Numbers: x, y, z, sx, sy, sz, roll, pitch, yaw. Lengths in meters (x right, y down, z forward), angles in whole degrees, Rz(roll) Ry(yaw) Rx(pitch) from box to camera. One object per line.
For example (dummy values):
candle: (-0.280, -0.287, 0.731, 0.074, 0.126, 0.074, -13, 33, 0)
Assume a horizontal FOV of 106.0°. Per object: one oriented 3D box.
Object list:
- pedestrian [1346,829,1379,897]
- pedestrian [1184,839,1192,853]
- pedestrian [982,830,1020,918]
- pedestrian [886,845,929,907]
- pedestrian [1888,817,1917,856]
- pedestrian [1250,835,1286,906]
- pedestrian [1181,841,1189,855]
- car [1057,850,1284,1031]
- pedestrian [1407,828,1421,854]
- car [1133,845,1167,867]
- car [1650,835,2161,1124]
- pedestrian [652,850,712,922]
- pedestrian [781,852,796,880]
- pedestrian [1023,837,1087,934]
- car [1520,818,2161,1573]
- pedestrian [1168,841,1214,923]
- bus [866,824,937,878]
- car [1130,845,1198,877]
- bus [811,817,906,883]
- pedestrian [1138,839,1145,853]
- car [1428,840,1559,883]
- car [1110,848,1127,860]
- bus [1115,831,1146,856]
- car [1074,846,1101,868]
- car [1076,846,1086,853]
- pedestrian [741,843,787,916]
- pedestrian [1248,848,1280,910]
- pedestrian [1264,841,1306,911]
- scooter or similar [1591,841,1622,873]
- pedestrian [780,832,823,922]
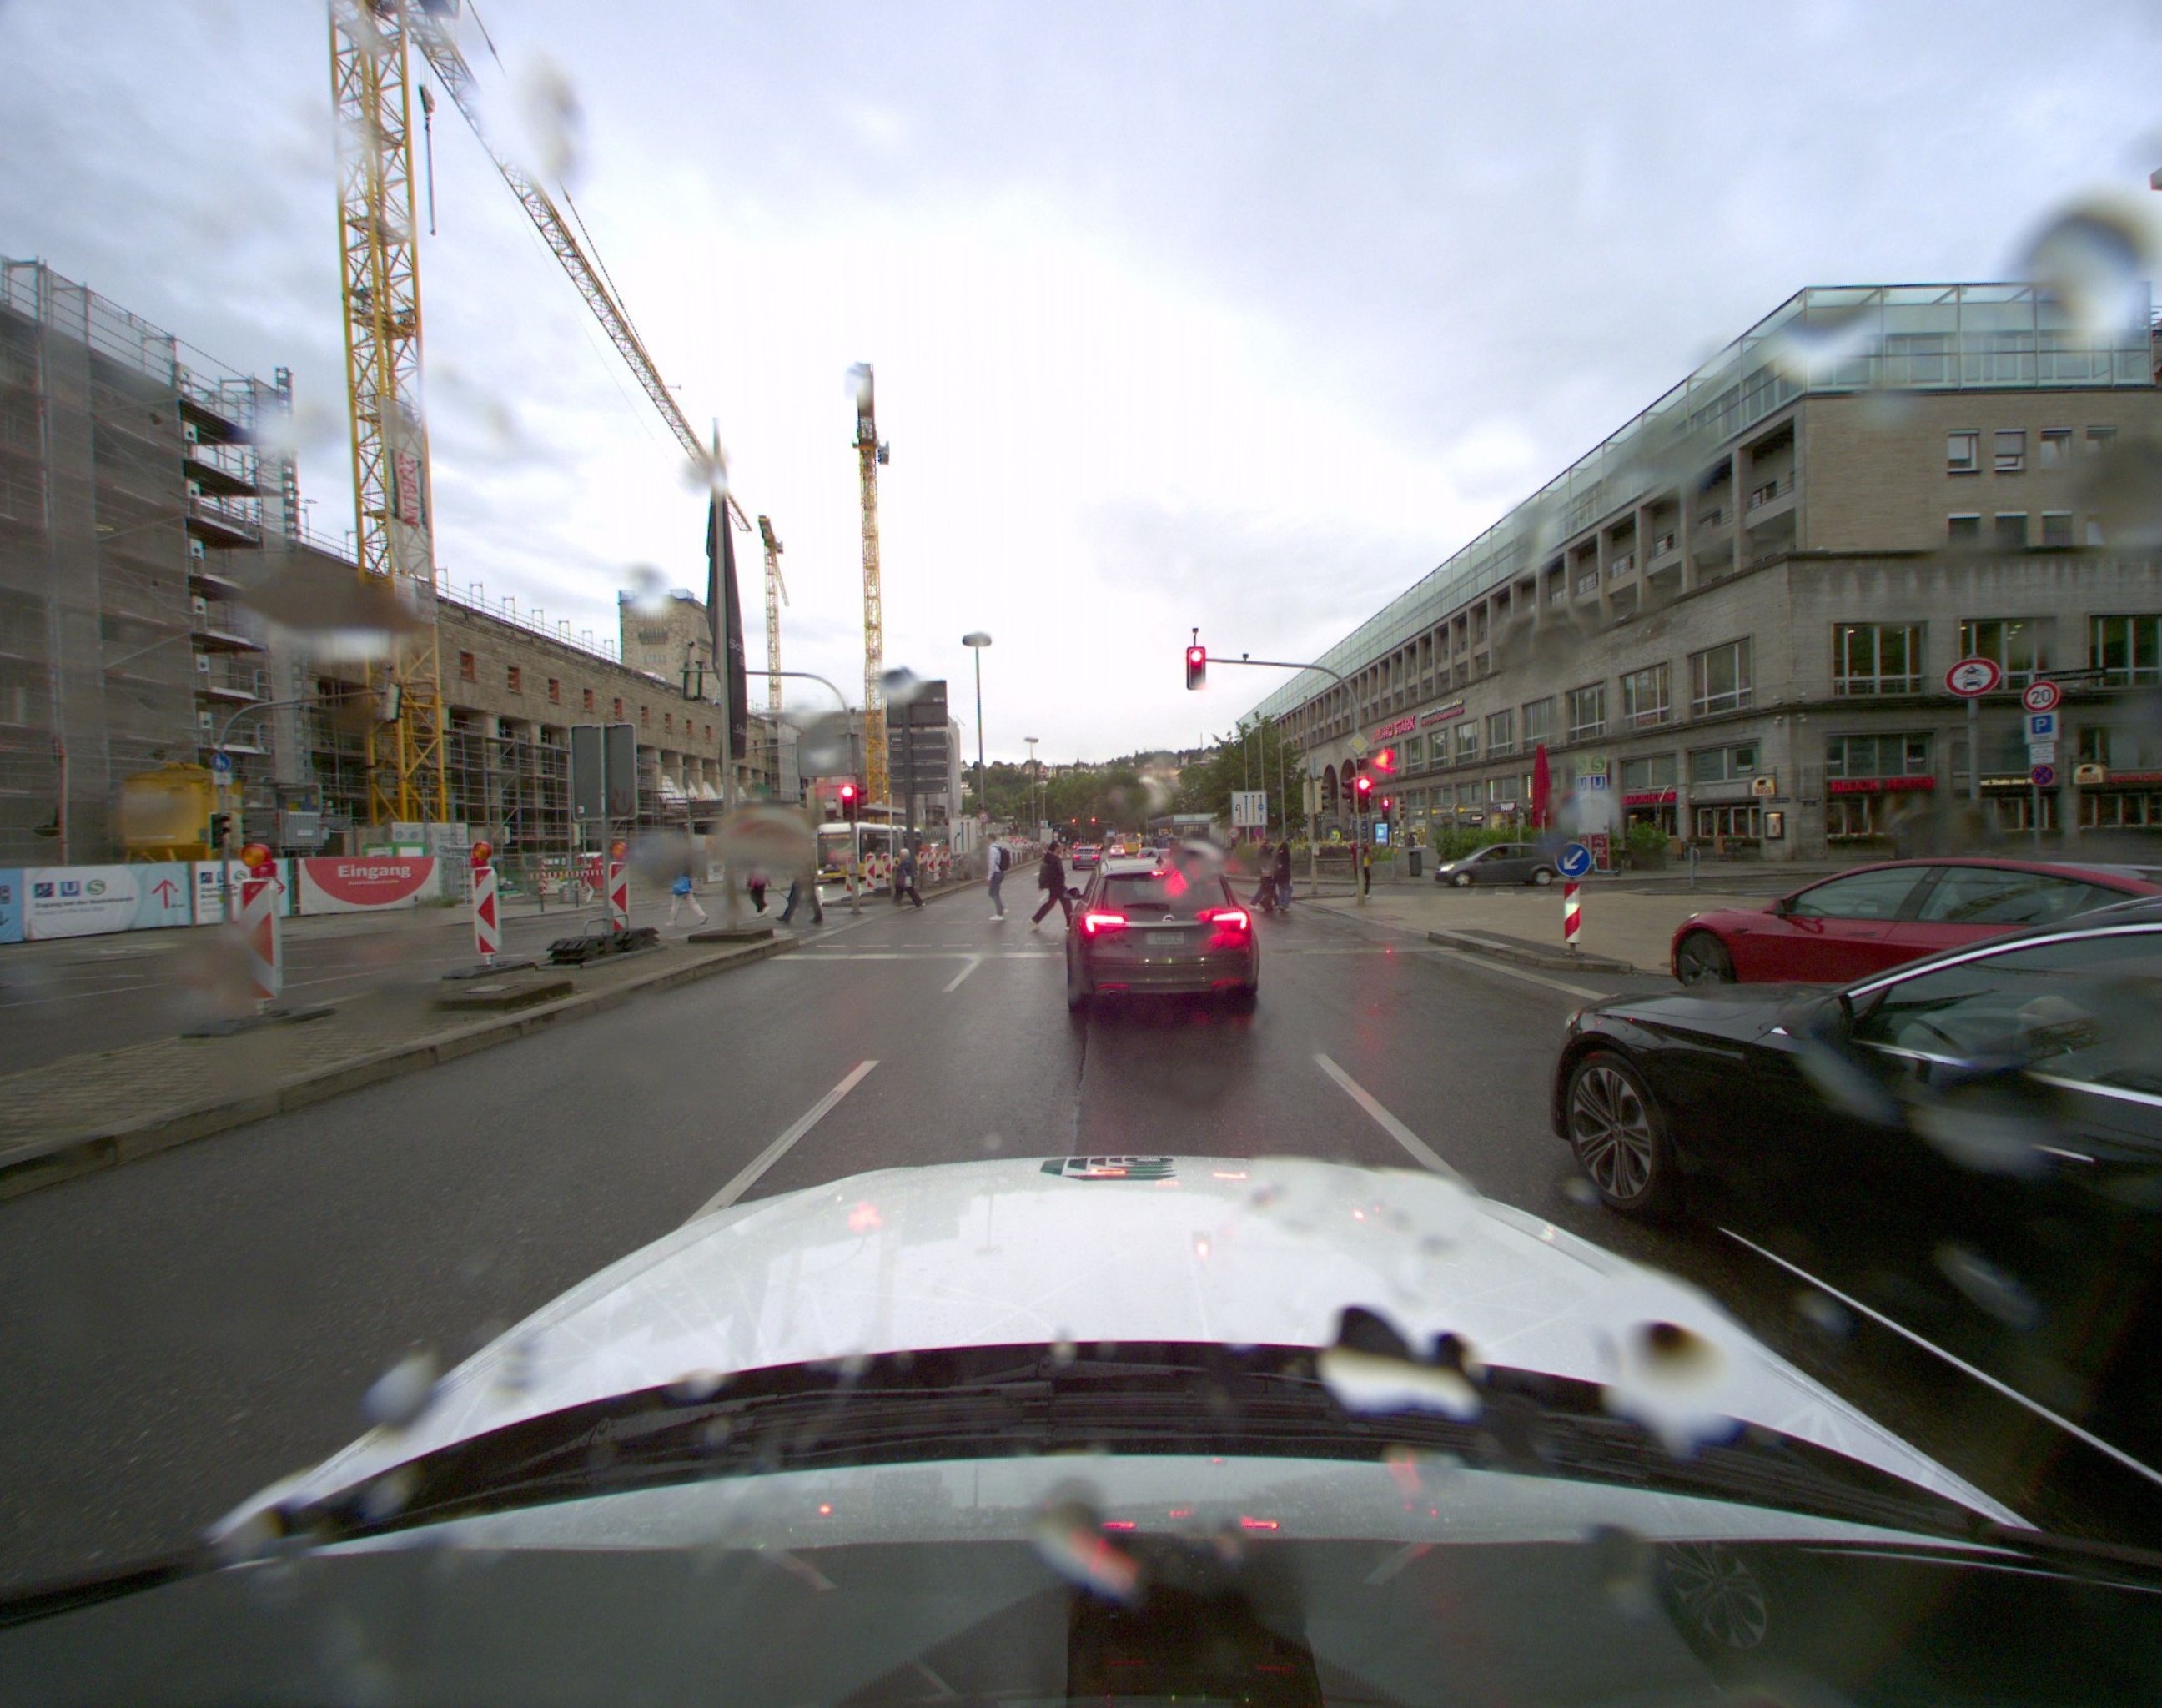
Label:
pedestrian: (7.425, 0.230, 21.490, 0.563, 1.752, 0.684, -1, -1, 44)
pedestrian: (12.469, -0.913, 94.870, 0.761, 1.690, 0.824, 0, 0, -3)
pedestrian: (-1.747, 0.421, 17.787, 0.798, 1.890, 0.618, 0, 0, -7)
pedestrian: (-4.491, 0.546, 21.055, 0.878, 1.561, 0.779, 0, -1, -31)
pedestrian: (31.813, -0.665, 31.560, 0.750, 1.512, 0.721, -1, -1, 43)
pedestrian: (4.594, 0.399, 20.004, 0.753, 1.717, 0.466, 0, 0, -2)
pedestrian: (12.284, -0.739, 96.226, 0.761, 1.690, 0.824, 0, 0, -3)
car: (0.794, 0.721, 8.749, 1.868, 1.486, 4.001, 0, 0, 1)
pedestrian: (26.812, -1.040, 65.581, 0.760, 2.014, 0.825, 0, 0, 2)
car: (4.592, 0.134, 54.395, 1.748, 1.398, 4.398, 0, 0, -2)
car: (6.532, 0.645, 5.806, 1.868, 1.486, 4.527, 0, 0, 1)
pedestrian: (-8.937, 0.703, 18.282, 0.912, 1.563, 0.899, 0, 0, -2)
pedestrian: (-19.668, 0.806, 54.723, 0.659, 1.855, 0.799, -2, 0, 2)
pedestrian: (-0.494, 0.589, 15.572, 1.093, 1.751, 0.653, -3, 0, -1)
car: (3.044, 0.674, 1.772, 1.787, 1.501, 4.630, 0, 0, 1)
pedestrian: (2.224, 0.553, 16.598, 0.791, 1.626, 0.899, 0, 0, -2)
bus: (-13.004, -0.172, 60.037, 2.658, 3.602, 10.216, 0, 0, 2)
car: (3.915, 0.322, 39.150, 1.756, 1.398, 4.625, 0, 0, -15)
bus: (-13.330, -0.197, 49.852, 2.658, 3.602, 10.243, 0, 0, 2)
pedestrian: (10.780, -1.390, 144.502, 1.194, 2.435, 1.229, 0, 0, 3)
car: (13.956, 0.253, 27.743, 3.631, 1.398, 1.857, 0, 0, 11)
car: (4.307, 0.011, 94.078, 1.838, 1.398, 3.565, 0, 0, 2)
bus: (7.305, -1.404, 121.944, 4.158, 3.469, 14.660, 0, 0, 2)
car: (0.442, 0.213, 54.414, 1.747, 1.398, 4.538, 0, 0, 0)
car: (0.069, -0.819, 151.315, 1.752, 1.398, 3.565, 0, 0, 2)
pedestrian: (-7.674, 0.610, 19.749, 0.797, 1.717, 0.619, -3, 0, -2)
pedestrian: (4.391, 0.590, 19.558, 0.677, 1.474, 0.366, 0, 0, -3)
pedestrian: (4.741, 0.503, 18.976, 0.797, 1.608, 0.619, 0, 0, -2)
scooter or similar: (19.416, 0.108, 30.123, 0.290, 1.189, 1.014, 0, 0, -17)
pedestrian: (-5.856, 0.467, 17.095, 0.576, 1.836, 0.820, 0, 0, 2)
